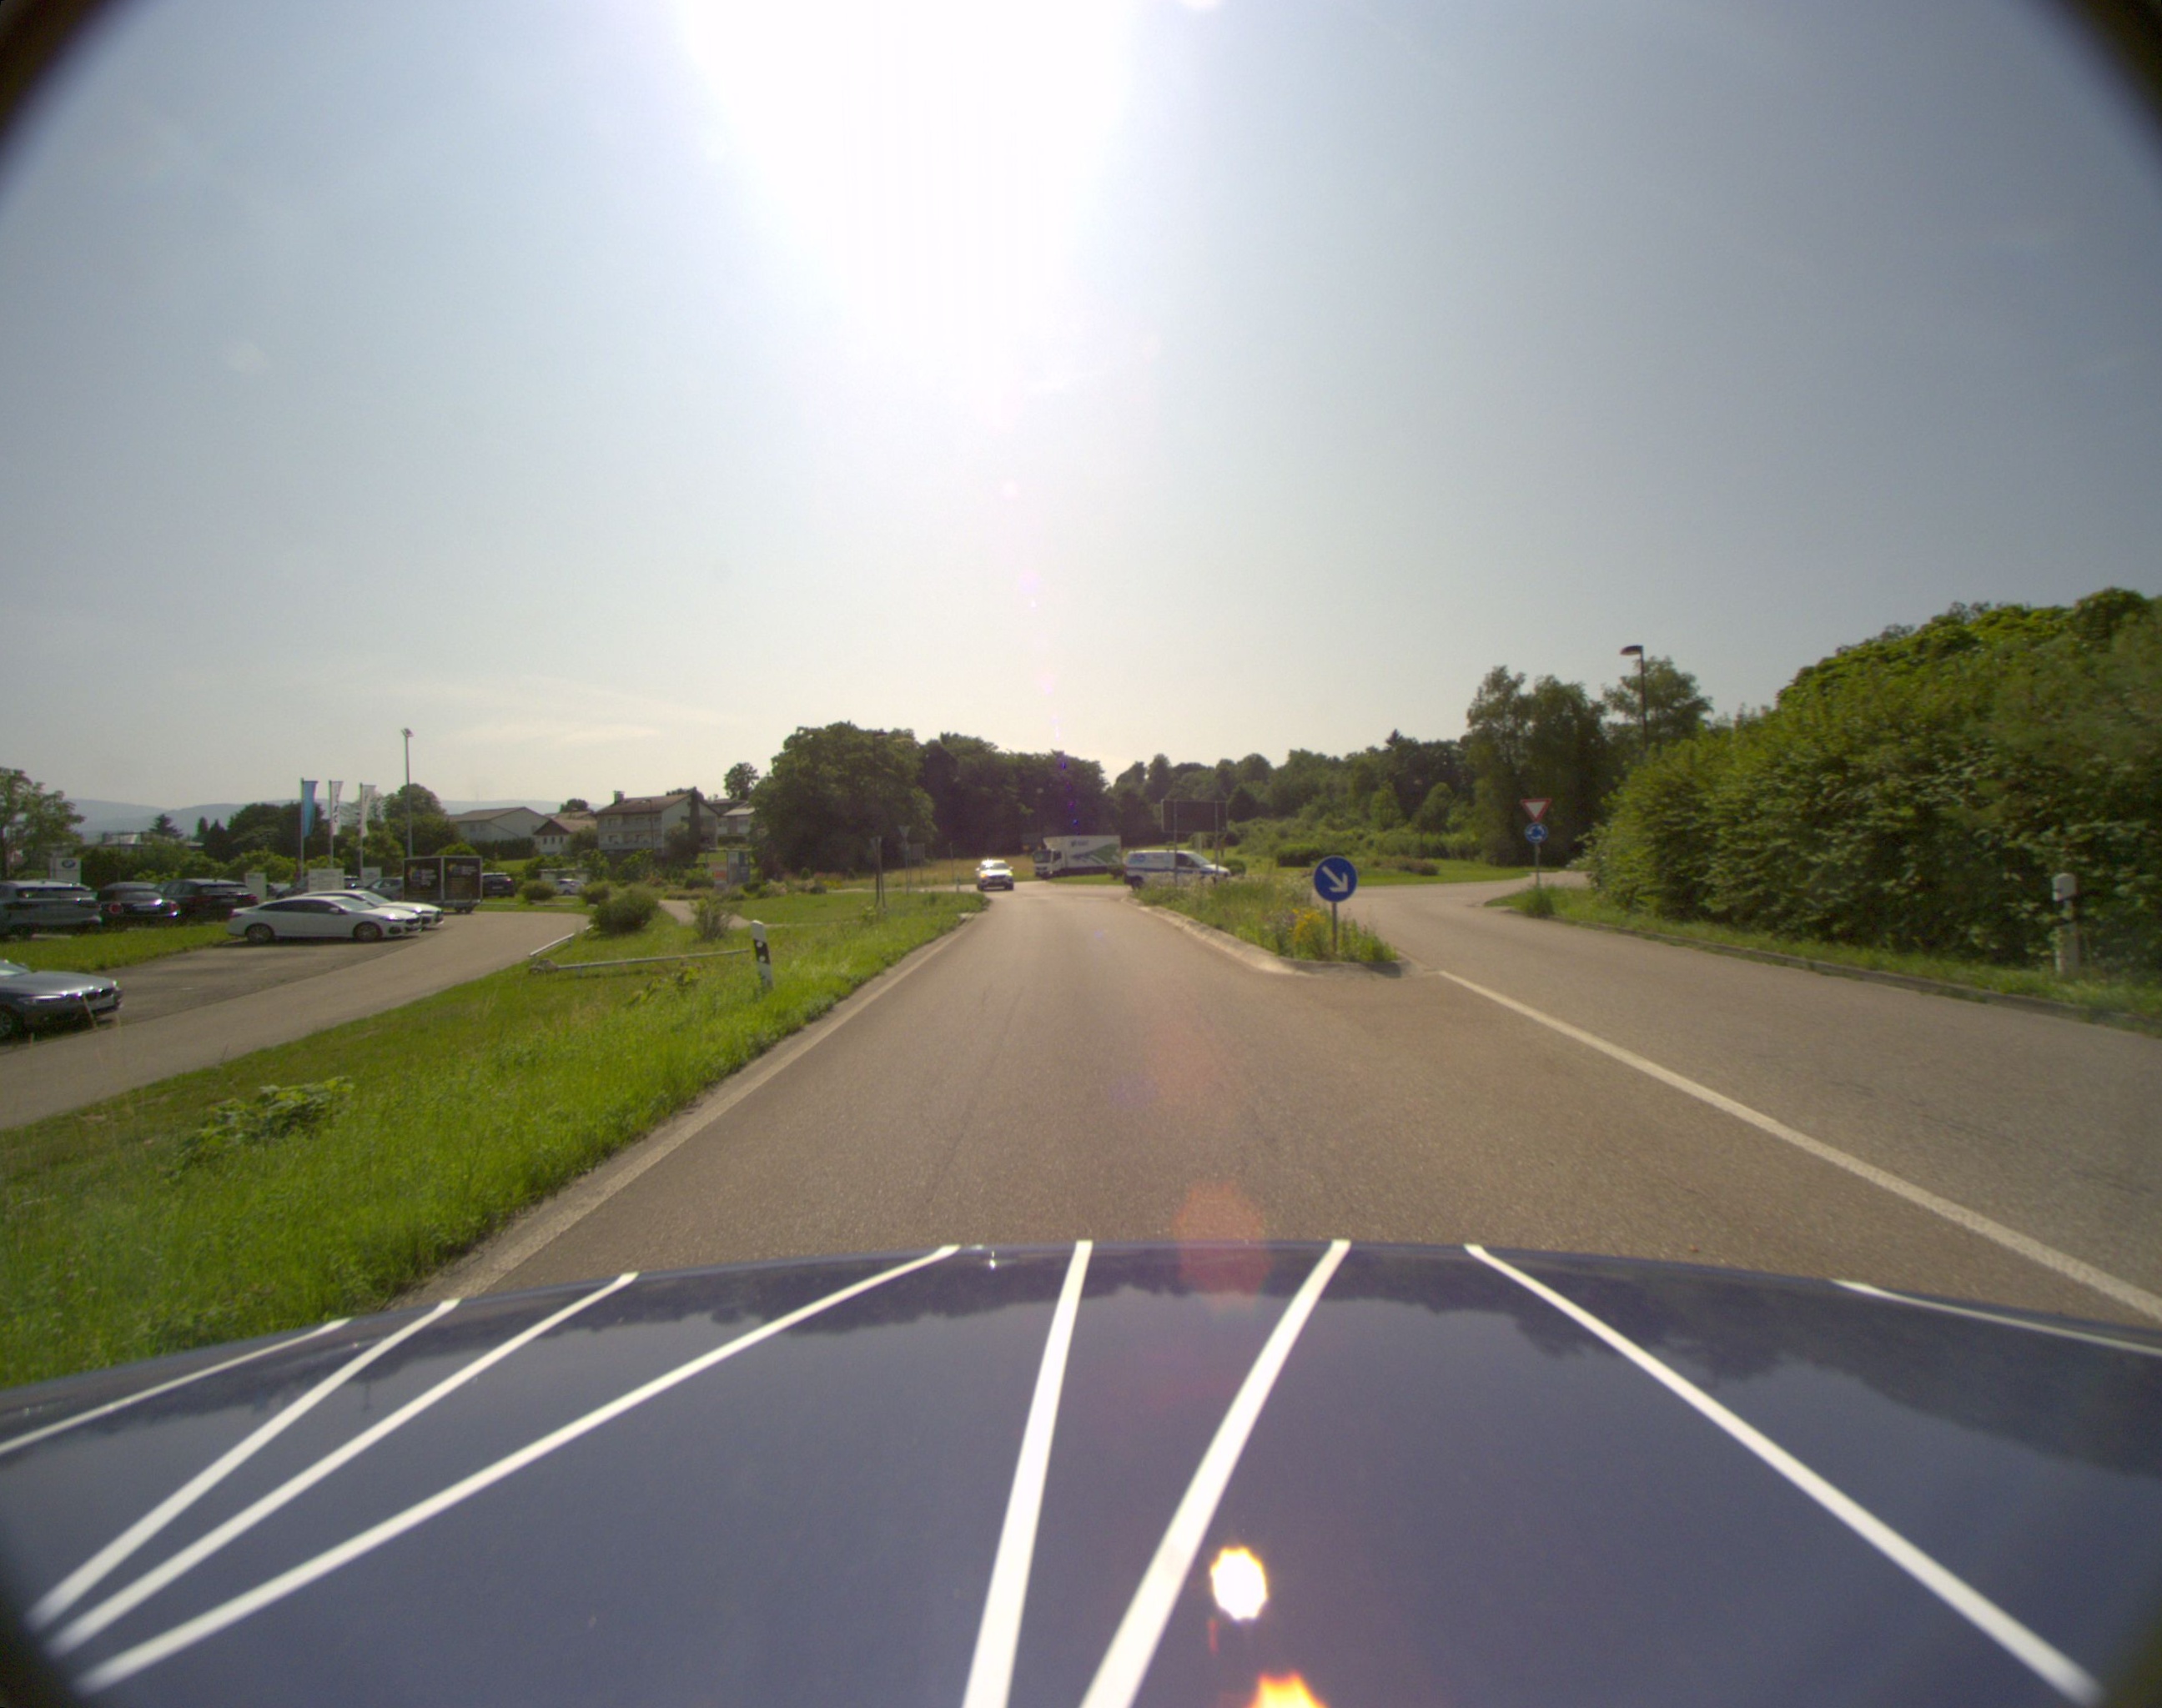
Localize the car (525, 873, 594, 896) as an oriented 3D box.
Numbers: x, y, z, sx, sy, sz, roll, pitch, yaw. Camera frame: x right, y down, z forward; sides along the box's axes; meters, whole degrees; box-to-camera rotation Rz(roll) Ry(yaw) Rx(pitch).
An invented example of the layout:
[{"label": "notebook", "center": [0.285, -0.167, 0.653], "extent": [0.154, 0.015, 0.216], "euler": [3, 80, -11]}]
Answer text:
[{"label": "car", "center": [-42.569, 2.459, 62.067], "extent": [4.195, 1.606, 2.130], "euler": [-3, -2, 2]}]

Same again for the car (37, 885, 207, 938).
[{"label": "car", "center": [-30.877, 1.791, 24.493], "extent": [4.001, 1.491, 1.952], "euler": [1, -1, 15]}]

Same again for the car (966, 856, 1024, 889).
[{"label": "car", "center": [-4.904, 1.039, 42.610], "extent": [2.199, 1.642, 5.114], "euler": [-3, 0, -18]}]

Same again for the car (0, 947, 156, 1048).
[{"label": "car", "center": [-19.962, 2.532, 13.251], "extent": [4.576, 1.413, 1.780], "euler": [0, 3, -18]}]

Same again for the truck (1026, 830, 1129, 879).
[{"label": "truck", "center": [-0.153, -0.025, 64.666], "extent": [9.040, 3.807, 2.892], "euler": [-3, 1, -43]}]

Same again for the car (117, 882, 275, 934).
[{"label": "car", "center": [-31.624, 1.893, 27.179], "extent": [4.417, 1.491, 1.952], "euler": [2, 1, 15]}]

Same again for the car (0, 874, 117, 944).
[{"label": "car", "center": [-29.745, 1.481, 21.287], "extent": [4.001, 1.740, 1.952], "euler": [1, 0, 15]}]

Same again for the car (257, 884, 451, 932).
[{"label": "car", "center": [-25.886, 1.916, 27.304], "extent": [4.672, 1.561, 1.765], "euler": [2, -1, -24]}]

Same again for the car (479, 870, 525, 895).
[{"label": "car", "center": [-36.711, 1.776, 48.157], "extent": [1.914, 1.503, 4.363], "euler": [0, -1, -42]}]

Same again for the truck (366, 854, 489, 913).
[{"label": "truck", "center": [-31.002, 1.361, 36.049], "extent": [5.614, 2.649, 1.953], "euler": [-1, 0, 21]}]

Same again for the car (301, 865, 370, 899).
[{"label": "car", "center": [-38.658, 1.415, 39.381], "extent": [3.808, 1.670, 1.914], "euler": [-1, 0, 36]}]

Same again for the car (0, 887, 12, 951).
[{"label": "car", "center": [-28.233, 1.591, 18.290], "extent": [3.999, 1.517, 1.953], "euler": [-1, 0, 21]}]

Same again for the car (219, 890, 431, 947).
[{"label": "car", "center": [-24.464, 2.051, 24.817], "extent": [4.581, 1.561, 1.765], "euler": [0, 1, -19]}]

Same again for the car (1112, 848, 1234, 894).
[{"label": "car", "center": [4.261, 0.792, 35.122], "extent": [5.218, 1.927, 1.863], "euler": [-2, 1, 21]}]

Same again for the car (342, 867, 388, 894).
[{"label": "car", "center": [-42.771, 1.571, 45.445], "extent": [1.914, 1.503, 4.363], "euler": [0, -1, -42]}]
